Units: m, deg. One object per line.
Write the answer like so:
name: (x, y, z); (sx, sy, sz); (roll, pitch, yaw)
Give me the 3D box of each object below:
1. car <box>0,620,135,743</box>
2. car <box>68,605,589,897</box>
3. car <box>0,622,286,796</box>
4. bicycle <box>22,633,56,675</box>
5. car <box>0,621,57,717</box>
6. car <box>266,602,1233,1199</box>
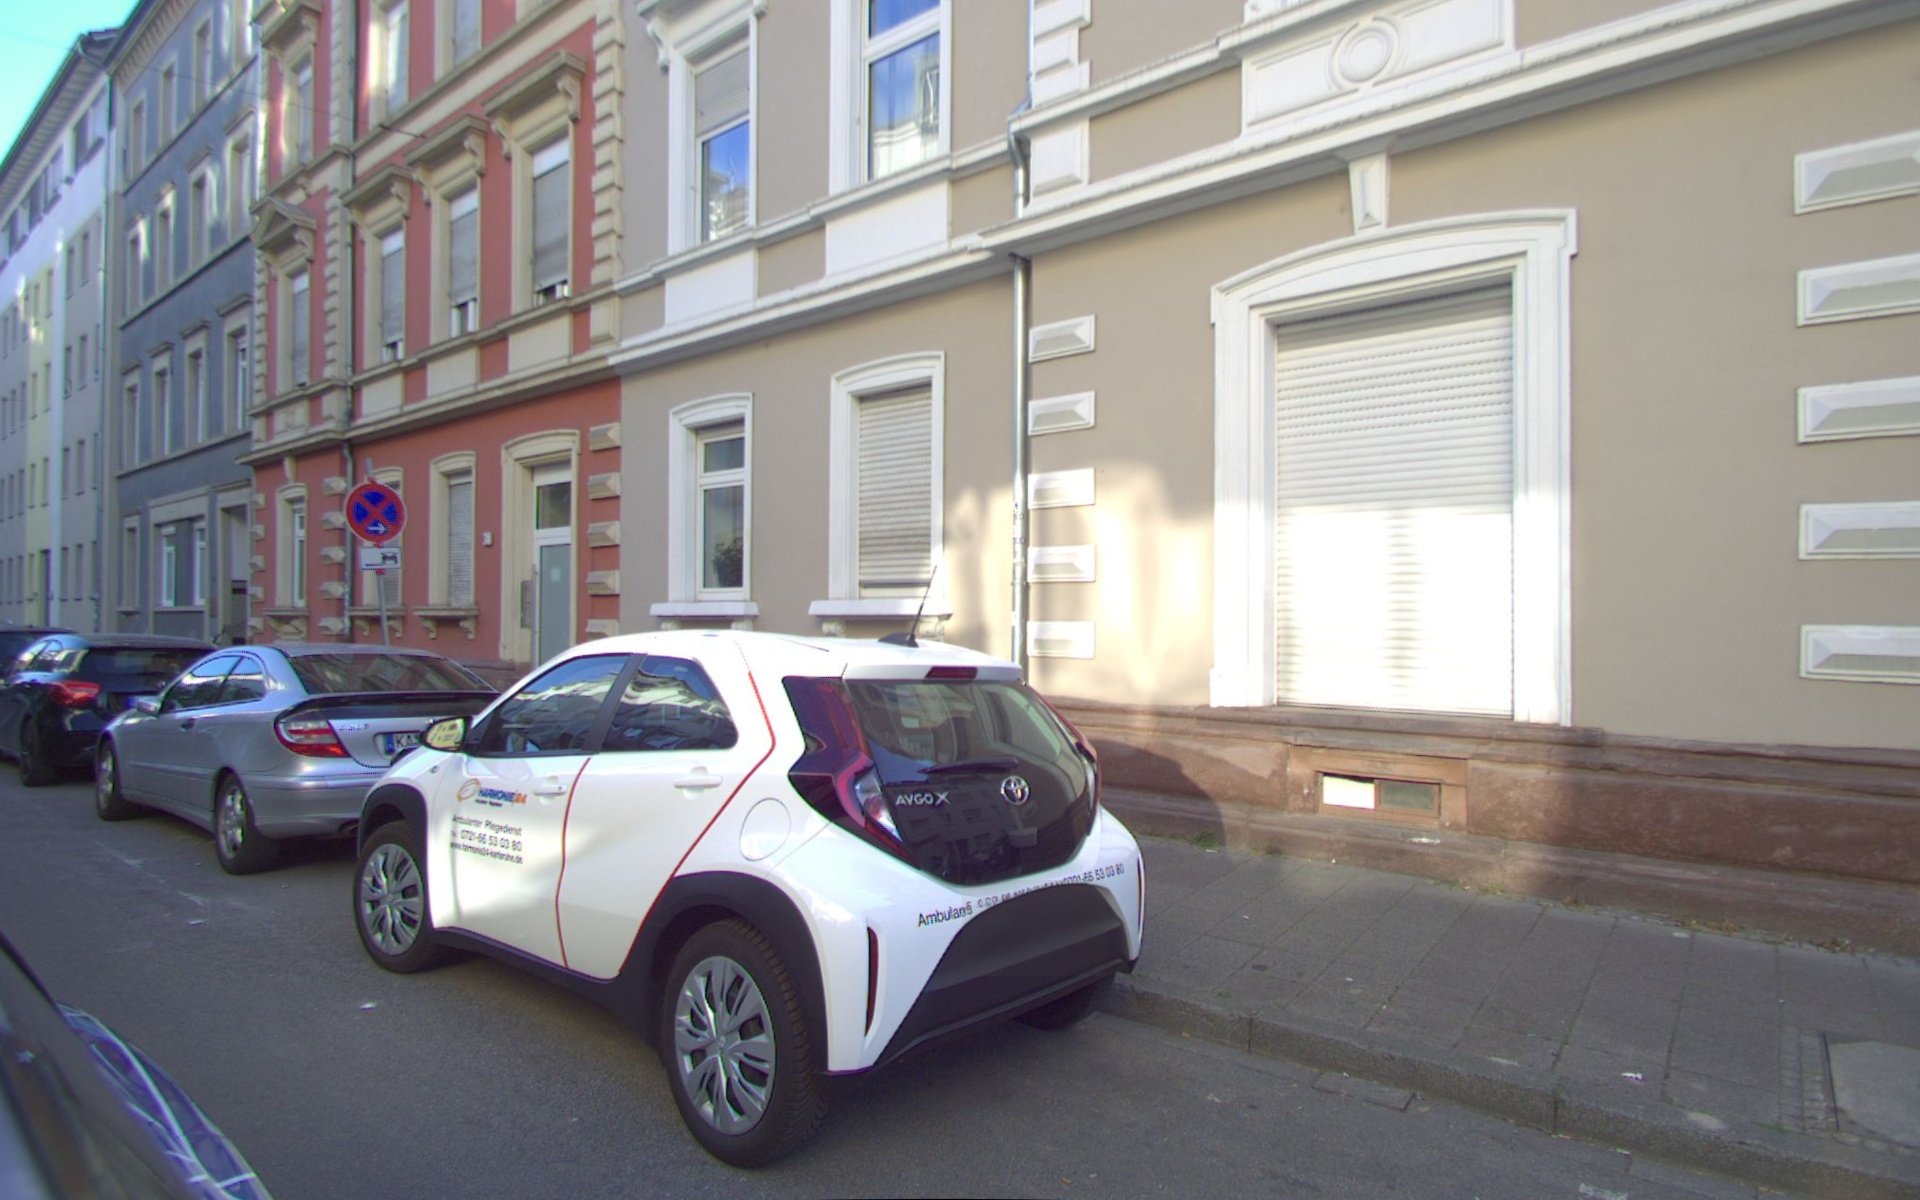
car: (-13.747, 1.116, 14.614); (4.234, 1.572, 1.883); (-2, -4, 38)
car: (-4.844, 0.910, 7.556); (4.260, 1.572, 1.902); (-2, -4, 38)
car: (-9.132, 1.037, 10.828); (4.260, 1.495, 1.902); (-2, -4, 38)
bicycle: (-25.341, 1.472, 27.836); (1.750, 1.082, 0.446); (-1, -1, 39)
car: (-17.521, 1.154, 17.603); (4.260, 1.572, 1.902); (-2, -4, 38)
car: (-1.207, 0.863, 4.425); (4.263, 1.519, 1.901); (-2, -4, 40)
